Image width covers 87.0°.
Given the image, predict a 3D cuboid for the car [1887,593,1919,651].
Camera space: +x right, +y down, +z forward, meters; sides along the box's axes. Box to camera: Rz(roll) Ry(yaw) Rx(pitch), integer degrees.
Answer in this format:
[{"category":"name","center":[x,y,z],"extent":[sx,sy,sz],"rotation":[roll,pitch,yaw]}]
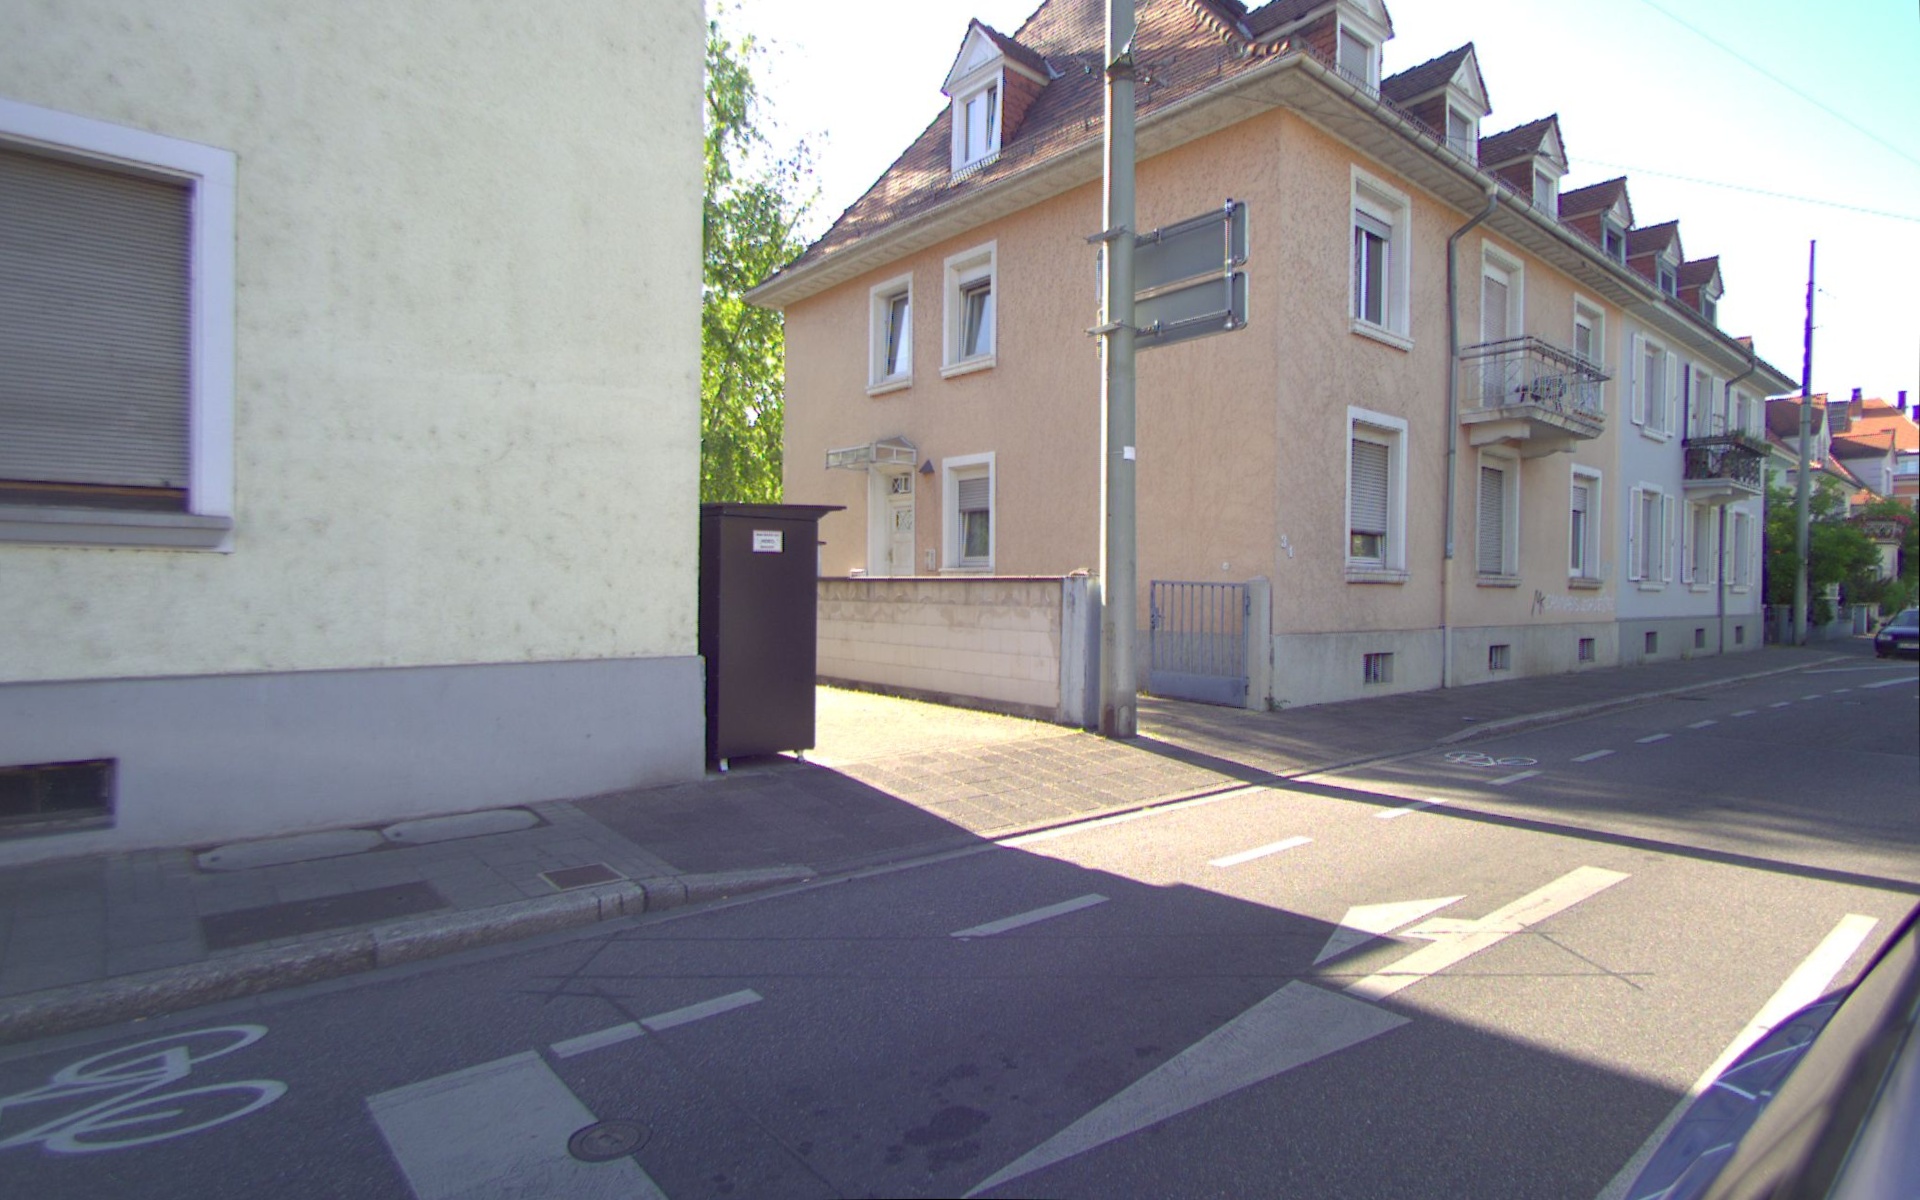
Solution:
[{"category":"car","center":[26.844,0.593,27.385],"extent":[3.925,1.504,1.883],"rotation":[0,1,-37]}]
